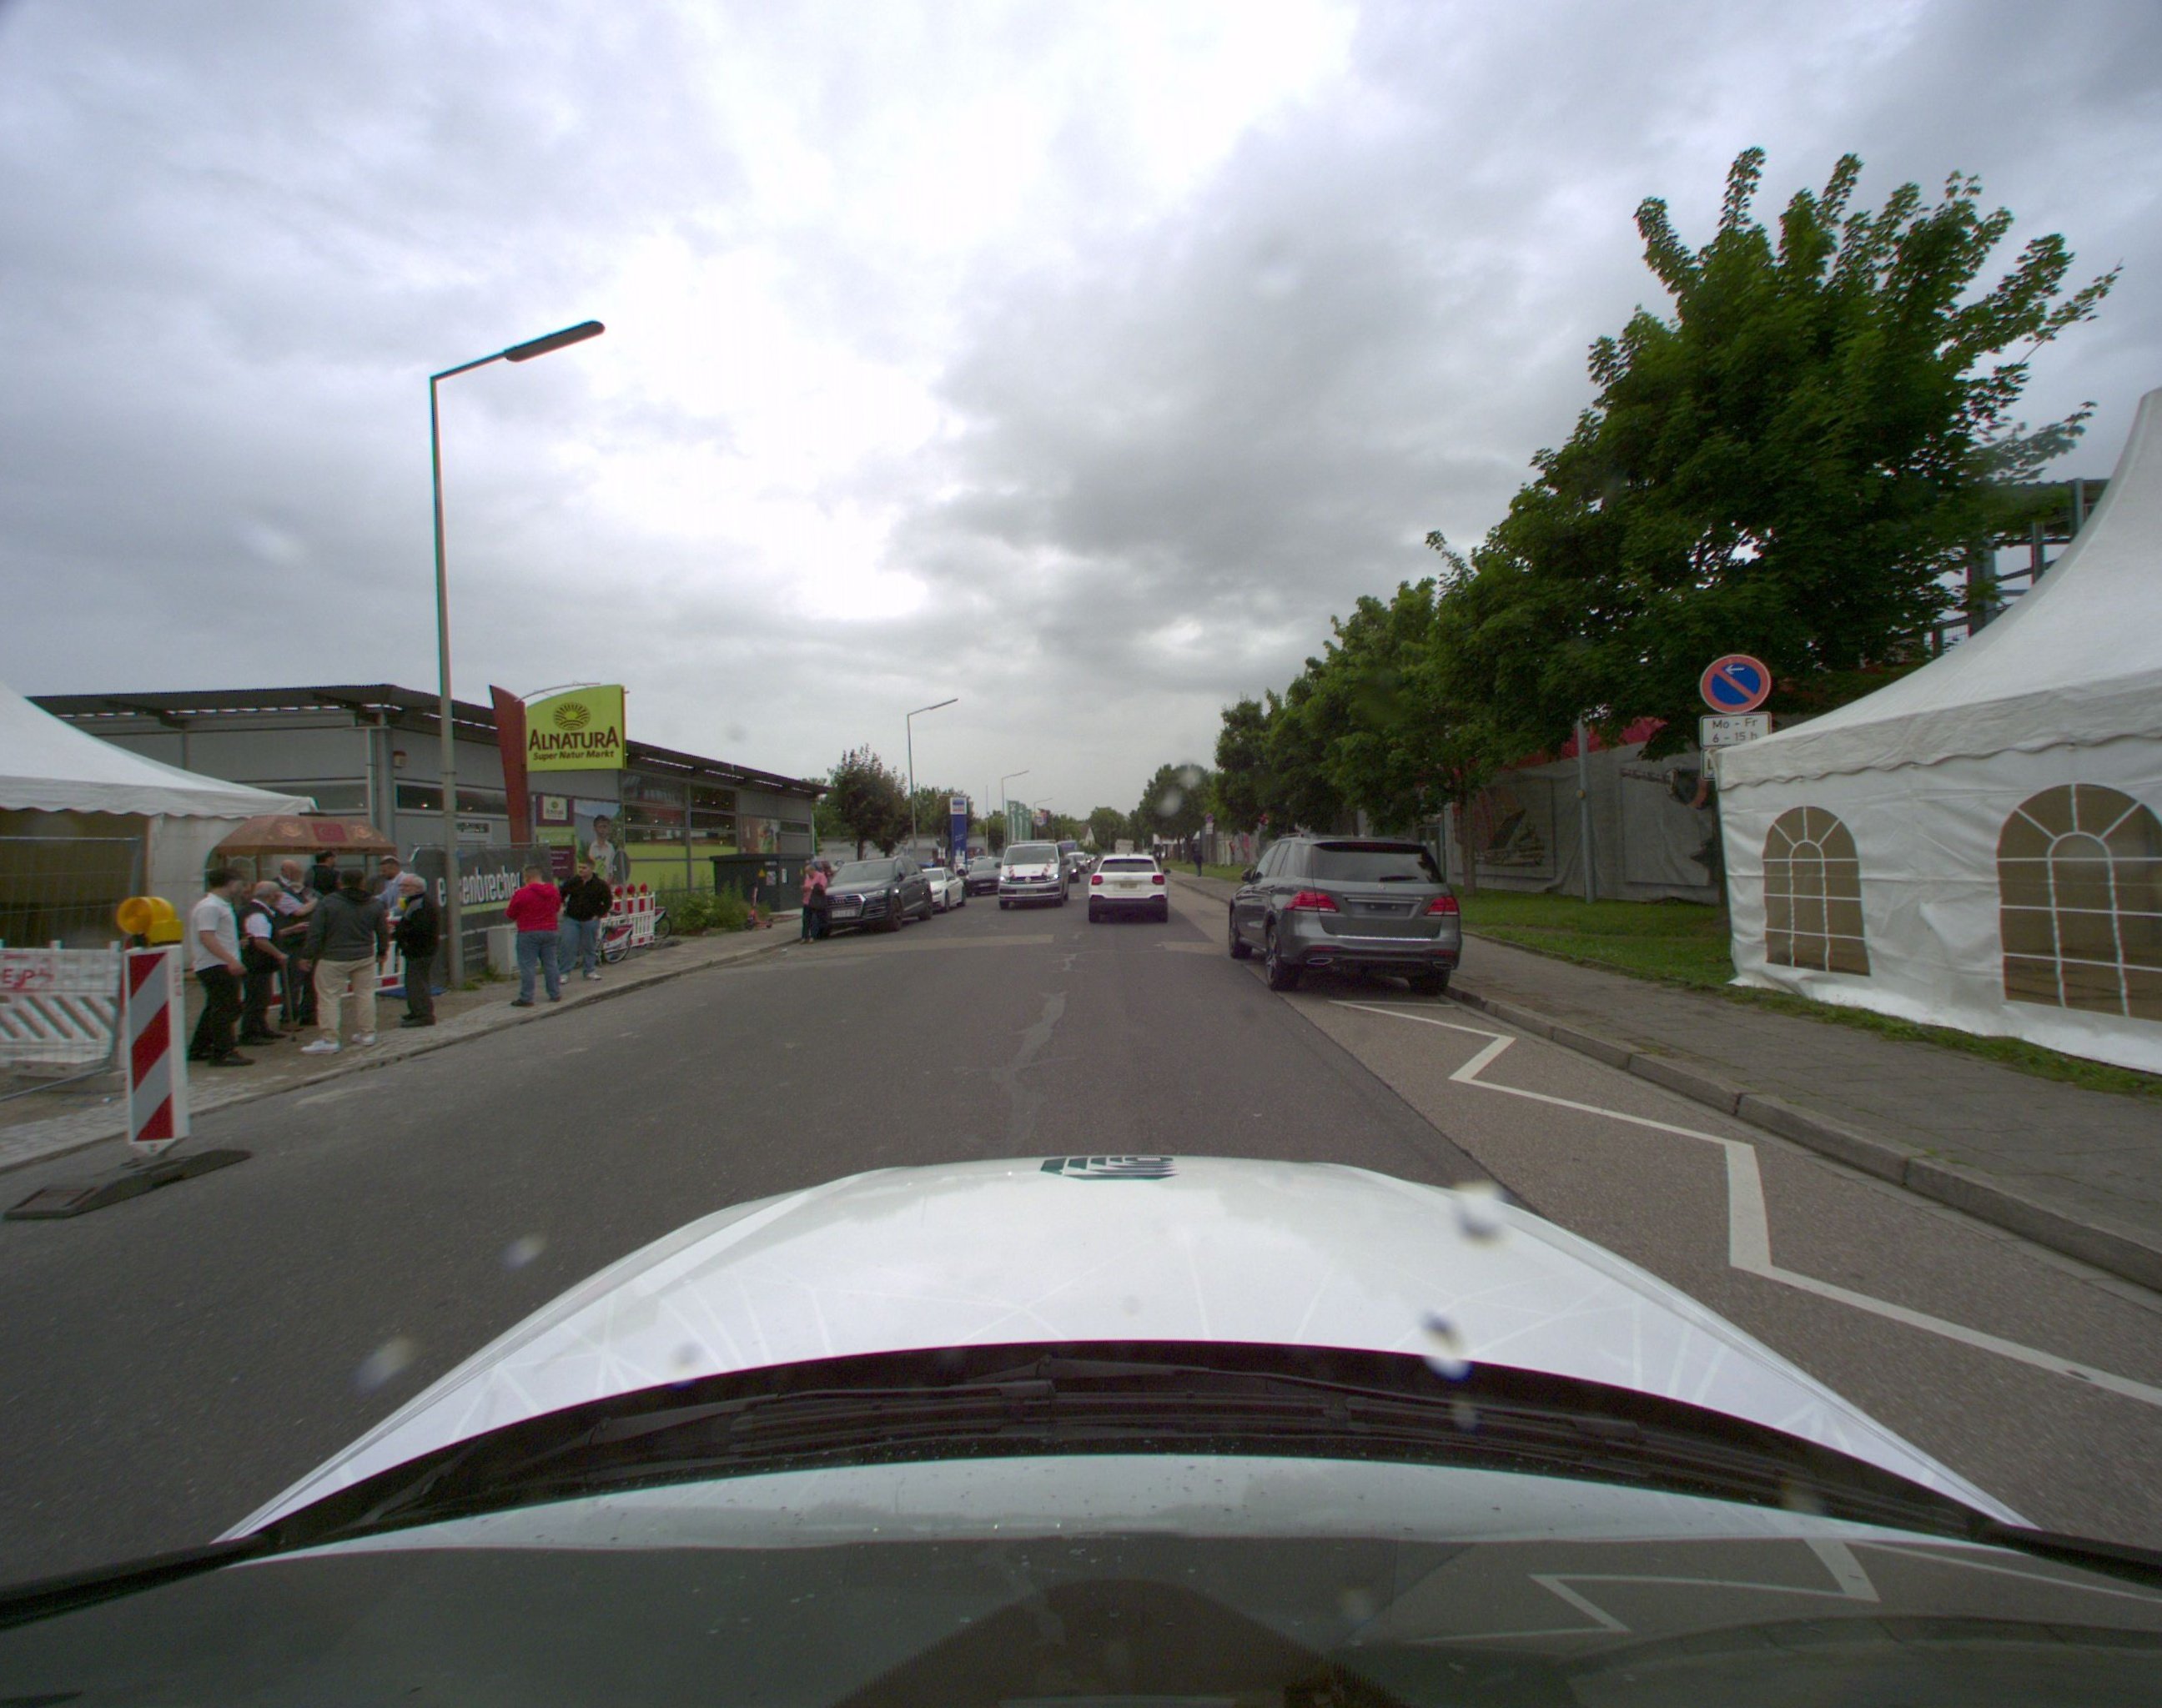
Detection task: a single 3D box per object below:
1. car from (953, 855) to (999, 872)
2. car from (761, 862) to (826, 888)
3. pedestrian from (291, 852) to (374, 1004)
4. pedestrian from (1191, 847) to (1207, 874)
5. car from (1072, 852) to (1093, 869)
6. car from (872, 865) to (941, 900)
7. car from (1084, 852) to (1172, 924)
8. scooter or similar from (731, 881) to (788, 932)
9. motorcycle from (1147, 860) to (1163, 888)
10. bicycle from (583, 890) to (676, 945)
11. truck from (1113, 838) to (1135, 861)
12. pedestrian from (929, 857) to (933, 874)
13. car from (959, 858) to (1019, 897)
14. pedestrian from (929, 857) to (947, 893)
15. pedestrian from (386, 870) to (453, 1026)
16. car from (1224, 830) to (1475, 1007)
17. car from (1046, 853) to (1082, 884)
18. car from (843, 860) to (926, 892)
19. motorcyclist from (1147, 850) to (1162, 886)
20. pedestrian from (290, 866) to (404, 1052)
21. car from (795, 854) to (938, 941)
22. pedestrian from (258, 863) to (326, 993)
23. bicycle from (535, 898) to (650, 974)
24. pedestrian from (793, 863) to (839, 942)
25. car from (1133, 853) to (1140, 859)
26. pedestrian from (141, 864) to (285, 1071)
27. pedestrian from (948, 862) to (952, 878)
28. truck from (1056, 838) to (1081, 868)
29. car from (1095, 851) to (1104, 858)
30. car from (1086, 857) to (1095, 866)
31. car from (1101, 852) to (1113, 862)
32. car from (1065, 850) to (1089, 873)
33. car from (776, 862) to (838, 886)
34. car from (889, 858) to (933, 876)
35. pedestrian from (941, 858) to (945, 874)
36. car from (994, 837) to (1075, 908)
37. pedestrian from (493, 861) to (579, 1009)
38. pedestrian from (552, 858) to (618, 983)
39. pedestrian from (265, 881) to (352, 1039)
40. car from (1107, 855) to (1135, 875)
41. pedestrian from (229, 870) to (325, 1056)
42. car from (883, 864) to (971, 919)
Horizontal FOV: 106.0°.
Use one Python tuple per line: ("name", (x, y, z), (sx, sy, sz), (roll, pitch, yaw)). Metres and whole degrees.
("car", (-9.844, 0.919, 76.852), (4.127, 1.463, 1.896), (-2, 0, -4))
("car", (-20.865, 1.492, 59.155), (3.972, 1.669, 1.877), (-2, 0, 1))
("pedestrian", (-9.608, 0.927, 10.464), (0.636, 1.865, 0.388), (-2, 0, -22))
("pedestrian", (7.295, 0.424, 50.469), (0.915, 1.635, 0.853), (0, -1, 3))
("car", (0.191, 0.683, 86.638), (1.924, 1.684, 4.500), (-3, 0, 4))
("car", (-10.798, 1.737, 50.494), (3.923, 2.013, 1.758), (-2, 0, -6))
("car", (1.106, 0.730, 19.586), (1.879, 1.531, 4.257), (-1, 0, 3))
("scooter or similar", (-8.091, 1.306, 20.551), (0.659, 1.157, 1.643), (-2, 0, 4))
("motorcycle", (3.270, 0.858, 36.289), (0.638, 1.178, 2.116), (-2, 0, 4))
("bicycle", (-9.341, 1.315, 16.869), (1.655, 1.046, 0.392), (2, 0, -1))
("truck", (6.773, -0.649, 129.054), (3.124, 3.585, 10.050), (0, -1, 1))
("pedestrian", (-14.947, 1.153, 81.195), (0.262, 1.730, 0.421), (-2, 0, -11))
("car", (-4.026, 1.011, 36.396), (1.939, 1.526, 4.405), (-2, 0, 2))
("pedestrian", (-6.932, 1.005, 39.509), (0.773, 1.715, 0.696), (-1, 0, -3))
("pedestrian", (-7.253, 0.997, 8.926), (0.493, 1.611, 0.564), (-2, 0, -43))
("car", (3.097, 0.647, 10.436), (1.901, 1.741, 4.483), (1, 0, 3))
("car", (-0.946, 0.782, 46.404), (1.722, 1.571, 3.948), (-3, 0, 2))
("car", (-10.353, 1.144, 43.171), (3.859, 1.620, 1.929), (0, 0, 2))
("motorcyclist", (3.264, 0.621, 36.232), (0.622, 1.554, 0.604), (-2, 0, 3))
("pedestrian", (-7.325, 1.005, 8.141), (0.484, 1.749, 0.696), (-1, 0, 29))
("car", (-4.998, 0.924, 19.780), (1.858, 1.691, 4.732), (-5, 0, 3))
("pedestrian", (-10.317, 0.946, 10.655), (0.417, 1.636, 0.475), (-2, 0, 26))
("bicycle", (-8.078, 1.325, 13.573), (0.541, 1.077, 1.905), (-2, -1, 8))
("pedestrian", (-5.663, 1.018, 17.419), (0.670, 1.621, 0.654), (-3, 0, 2))
("car", (15.186, 0.563, 223.850), (1.879, 1.683, 4.257), (0, 0, 3))
("pedestrian", (-7.788, 0.981, 7.332), (0.486, 1.749, 0.693), (-2, 0, 8))
("pedestrian", (-12.980, 1.547, 80.663), (0.330, 1.570, 0.502), (-2, 0, -12))
("truck", (-1.664, -0.125, 115.343), (2.962, 3.956, 6.408), (-3, 0, 2))
("car", (4.488, 0.216, 200.638), (1.771, 1.655, 3.743), (0, -1, -4))
("car", (1.846, 1.395, 156.084), (1.592, 1.528, 3.530), (-3, -1, 2))
("car", (4.379, 0.523, 136.793), (1.863, 1.662, 4.000), (-3, 0, 0))
("car", (-0.308, 0.609, 67.667), (1.682, 1.761, 4.138), (-4, 0, 3))
("car", (-20.797, 1.518, 61.818), (3.972, 1.669, 1.877), (-2, 0, 1))
("car", (-17.261, 1.302, 82.732), (3.972, 1.669, 1.877), (-2, 0, 1))
("pedestrian", (-13.618, 1.138, 80.182), (0.359, 1.570, 0.502), (-2, 0, -12))
("car", (-1.333, 0.547, 25.571), (1.918, 2.014, 4.960), (0, -1, 4))
("pedestrian", (-6.801, 0.978, 10.181), (0.405, 1.755, 0.725), (-2, 0, 27))
("pedestrian", (-7.258, 0.944, 11.926), (0.691, 1.717, 0.688), (-1, 2, -44))
("pedestrian", (-8.275, 1.100, 8.747), (0.542, 1.612, 0.486), (0, -1, -26))
("car", (2.945, 0.768, 60.778), (1.930, 1.367, 4.001), (-3, 0, 1))
("pedestrian", (-7.997, 1.046, 8.106), (0.484, 1.749, 0.532), (-1, 0, 29))
("car", (-4.794, 1.120, 25.977), (1.692, 1.367, 4.519), (-7, 0, 1))
